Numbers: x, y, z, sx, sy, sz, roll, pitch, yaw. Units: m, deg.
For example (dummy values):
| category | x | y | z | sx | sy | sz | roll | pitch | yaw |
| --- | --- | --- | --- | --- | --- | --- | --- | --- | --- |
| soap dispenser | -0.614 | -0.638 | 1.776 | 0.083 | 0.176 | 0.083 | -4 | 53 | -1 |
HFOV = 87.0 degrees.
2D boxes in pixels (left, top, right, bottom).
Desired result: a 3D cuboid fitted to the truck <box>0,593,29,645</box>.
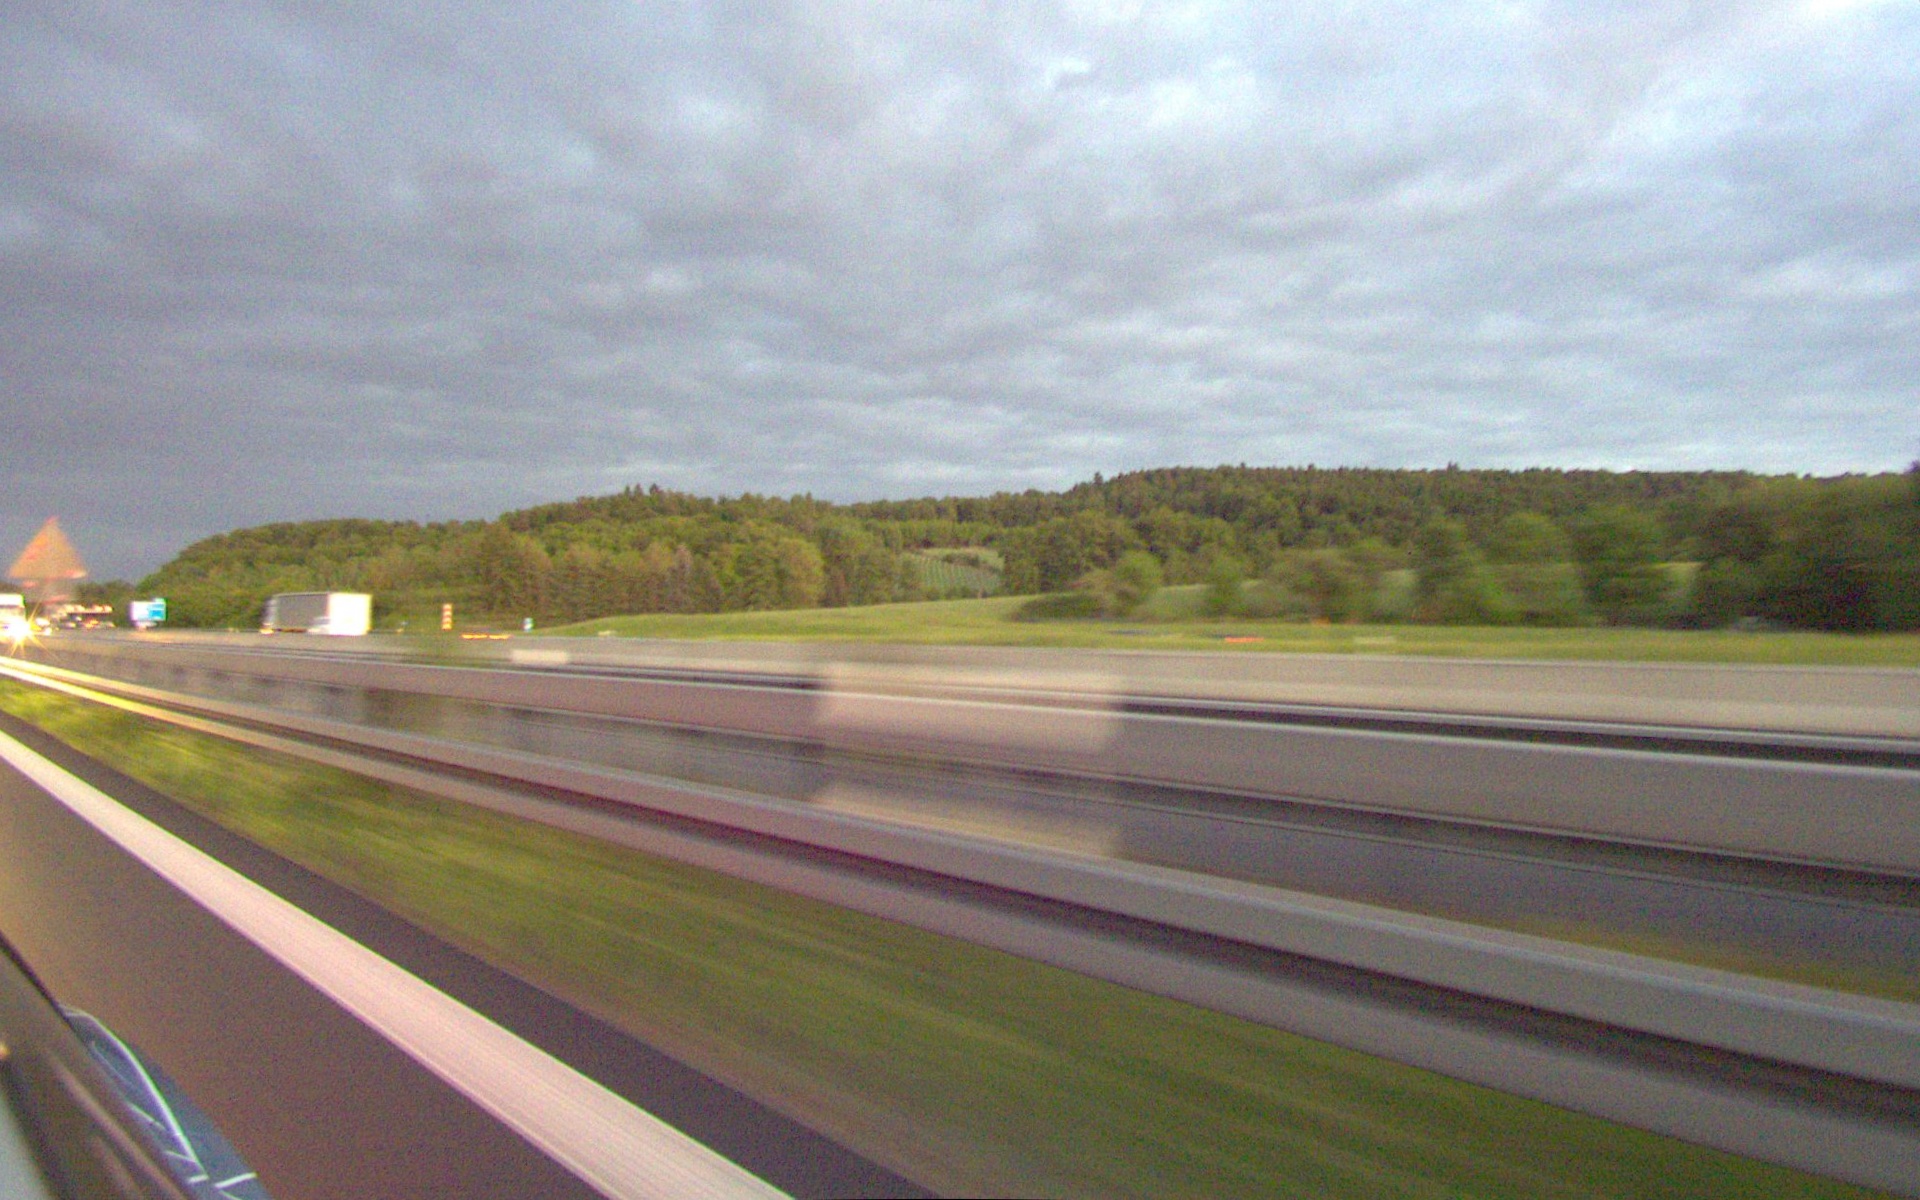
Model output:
| category | x | y | z | sx | sy | sz | roll | pitch | yaw |
| --- | --- | --- | --- | --- | --- | --- | --- | --- | --- |
| truck | -83.889 | 1.675 | 88.047 | 9.885 | 4.334 | 3.007 | -1 | -2 | 41 |

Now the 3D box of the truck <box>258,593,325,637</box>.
| category | x | y | z | sx | sy | sz | roll | pitch | yaw |
| --- | --- | --- | --- | --- | --- | --- | --- | --- | --- |
| truck | -57.223 | 1.303 | 86.614 | 5.494 | 3.647 | 3.276 | -1 | -2 | 41 |

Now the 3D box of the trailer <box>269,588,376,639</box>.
| category | x | y | z | sx | sy | sz | roll | pitch | yaw |
| --- | --- | --- | --- | --- | --- | --- | --- | --- | --- |
| trailer | -51.775 | 1.160 | 81.930 | 13.877 | 3.794 | 3.292 | -1 | -2 | 41 |

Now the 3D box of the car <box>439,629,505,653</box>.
| category | x | y | z | sx | sy | sz | roll | pitch | yaw |
| --- | --- | --- | --- | --- | --- | --- | --- | --- | --- |
| car | -26.901 | 2.239 | 55.757 | 4.211 | 1.259 | 1.734 | -1 | -2 | 41 |

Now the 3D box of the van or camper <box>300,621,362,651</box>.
| category | x | y | z | sx | sy | sz | roll | pitch | yaw |
| --- | --- | --- | --- | --- | --- | --- | --- | --- | --- |
| van or camper | -42.329 | 2.406 | 68.088 | 5.535 | 1.921 | 1.872 | -1 | -1 | 40 |
